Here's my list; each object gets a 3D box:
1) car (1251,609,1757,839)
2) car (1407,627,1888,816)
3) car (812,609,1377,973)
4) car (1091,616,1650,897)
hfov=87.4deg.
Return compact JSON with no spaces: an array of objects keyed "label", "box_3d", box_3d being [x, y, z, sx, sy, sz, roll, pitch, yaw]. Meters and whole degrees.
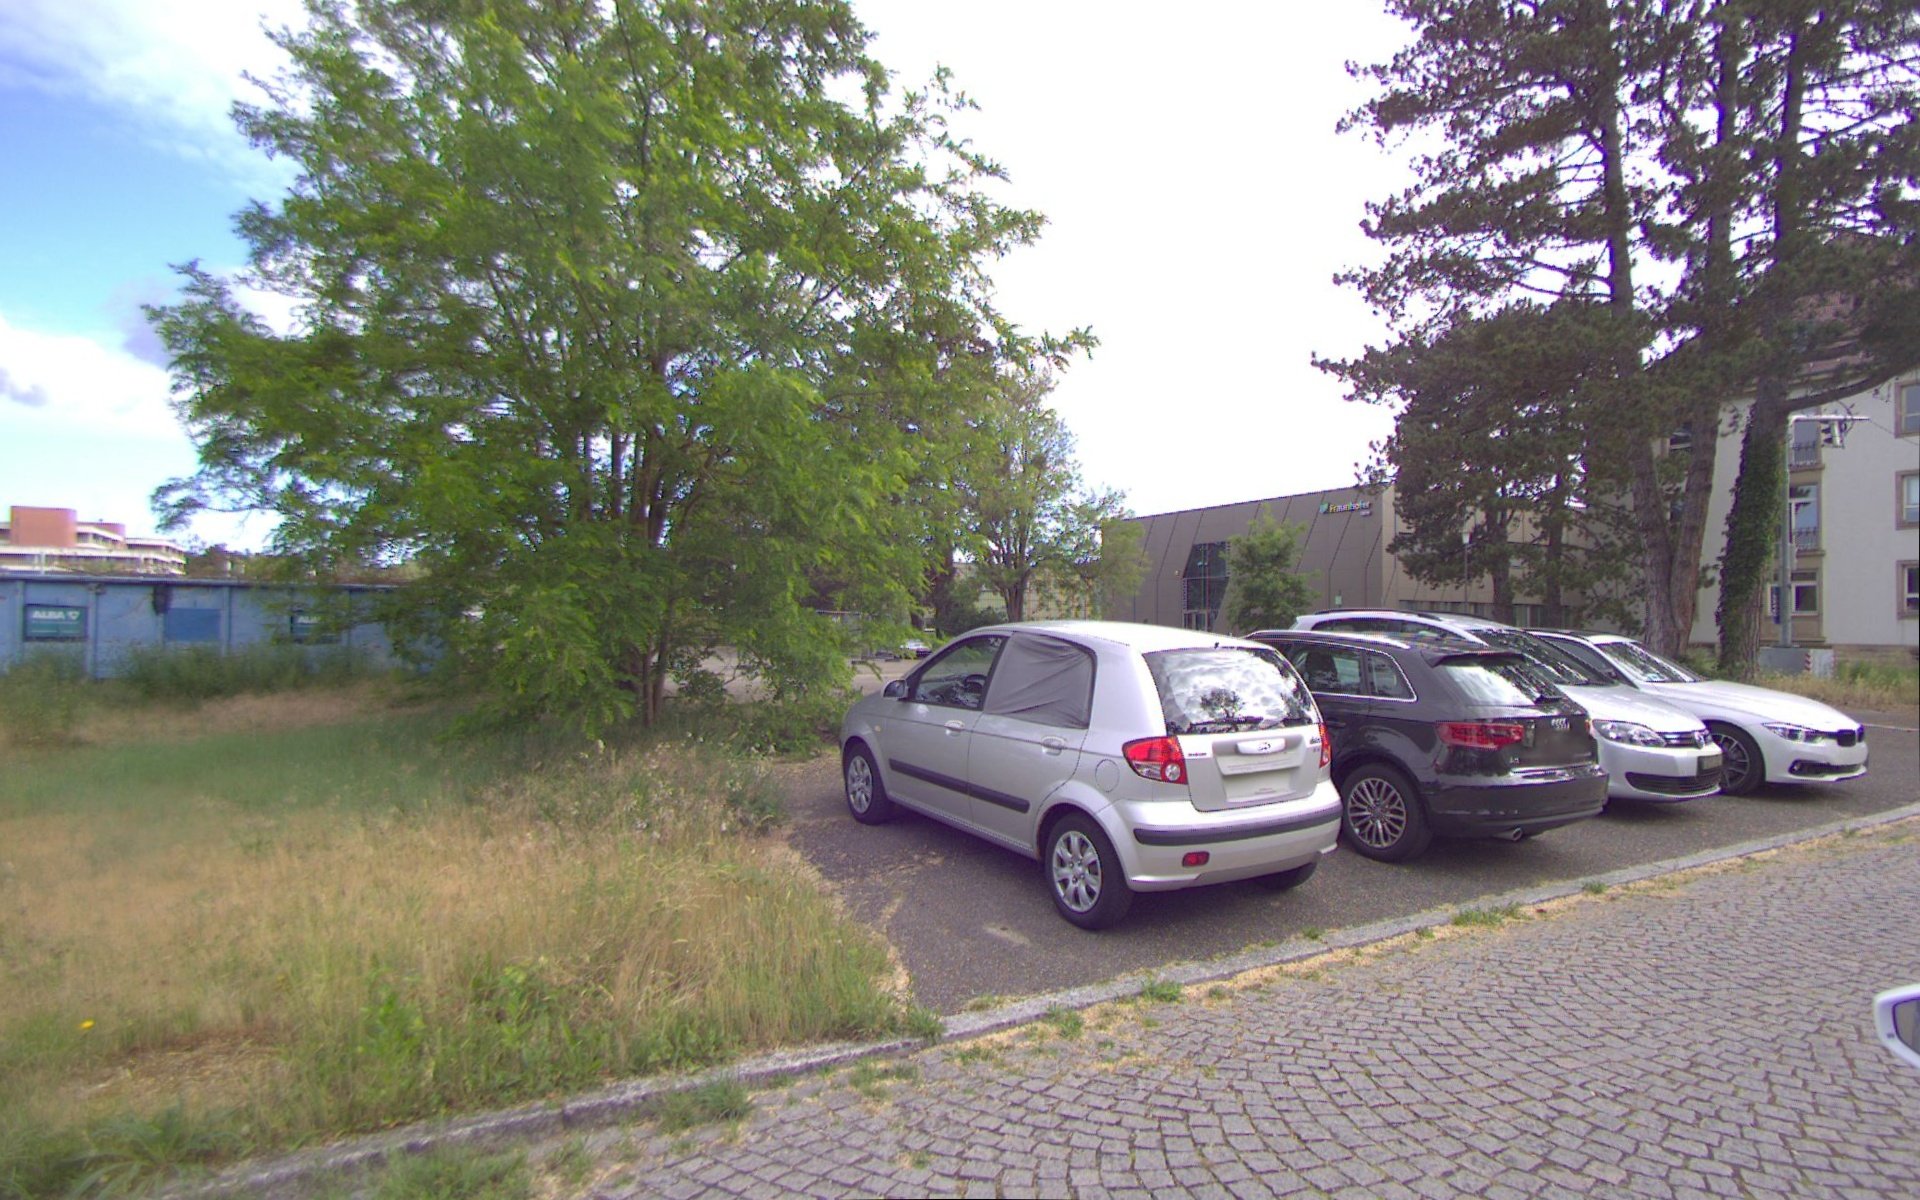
[{"label":"car","box_3d":[4.881,0.956,9.575,1.632,1.584,3.925,1,1,-33]},{"label":"car","box_3d":[7.074,1.112,10.786,1.631,1.440,3.928,1,1,-30]},{"label":"car","box_3d":[0.543,0.875,6.439,1.565,1.499,3.681,1,1,-33]},{"label":"car","box_3d":[2.825,0.929,7.693,1.565,1.448,3.724,1,1,-33]}]
